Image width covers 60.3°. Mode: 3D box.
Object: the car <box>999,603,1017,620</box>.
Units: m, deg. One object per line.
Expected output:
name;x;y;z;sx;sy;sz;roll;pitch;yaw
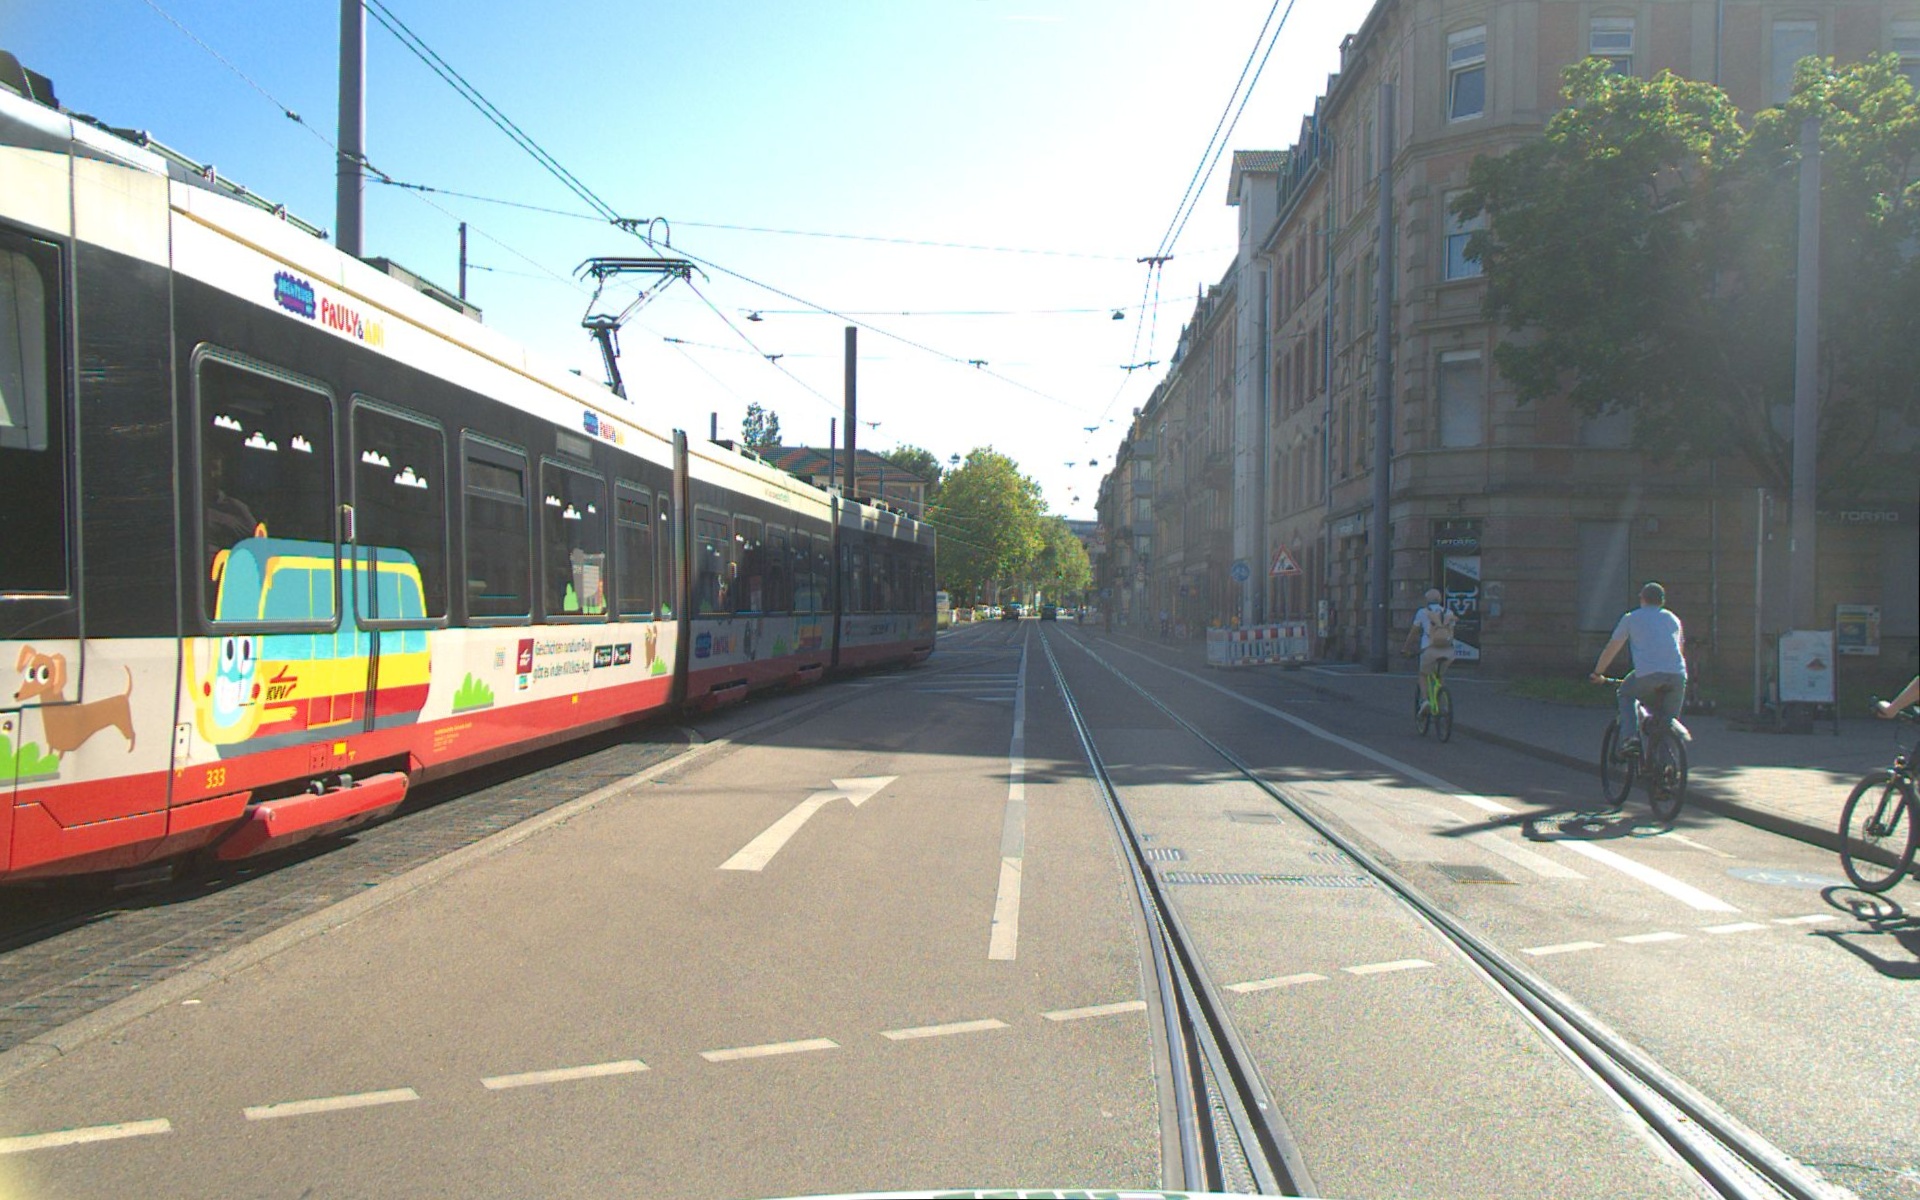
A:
car;5.050;1.250;174.634;1.722;1.726;4.145;3;-1;4

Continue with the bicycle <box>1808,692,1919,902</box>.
bicycle;5.633;1.124;9.280;0.522;1.137;1.929;1;-1;-9

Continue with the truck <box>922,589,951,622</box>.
truck;-2.180;0.516;152.086;2.487;2.879;6.374;3;-1;-1

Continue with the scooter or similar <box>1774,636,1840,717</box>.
scooter or similar;13.175;1.174;25.760;0.264;1.206;1.565;2;-1;3

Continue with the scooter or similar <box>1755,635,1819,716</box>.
scooter or similar;12.865;1.159;25.765;0.264;1.206;1.565;2;-1;3

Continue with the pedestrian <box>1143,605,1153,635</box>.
pedestrian;10.833;1.174;95.281;0.541;1.730;0.474;-1;-1;10

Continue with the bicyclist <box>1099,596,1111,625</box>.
bicyclist;8.859;0.668;101.025;0.653;1.726;1.043;3;-1;2

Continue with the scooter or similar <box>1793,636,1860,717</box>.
scooter or similar;13.503;1.174;25.806;0.264;1.217;1.565;2;-1;3

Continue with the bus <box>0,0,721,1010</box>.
bus;-4.424;-0.397;11.569;2.781;3.652;13.500;1;0;3

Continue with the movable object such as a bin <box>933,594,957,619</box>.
movable object such as a bin;-1.616;0.725;183.094;2.444;2.691;5.988;3;0;0

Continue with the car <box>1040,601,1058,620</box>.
car;10.010;1.174;186.717;1.952;2.049;4.001;3;-1;3

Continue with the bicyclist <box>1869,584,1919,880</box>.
bicyclist;5.673;0.746;9.158;0.612;1.641;0.979;3;-1;-8

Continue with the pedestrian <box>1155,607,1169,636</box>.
pedestrian;11.433;1.229;93.657;0.781;1.633;0.652;1;-1;5

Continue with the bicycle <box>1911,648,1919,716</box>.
bicycle;15.395;1.304;25.828;0.394;1.080;1.483;2;-1;8

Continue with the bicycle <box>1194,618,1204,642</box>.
bicycle;11.644;1.468;80.541;0.401;1.141;1.899;-1;-1;7

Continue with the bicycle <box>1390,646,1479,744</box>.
bicycle;5.996;1.176;20.986;0.521;1.137;1.933;3;-1;-1

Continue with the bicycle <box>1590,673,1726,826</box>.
bicycle;5.699;1.184;13.602;0.378;1.087;1.934;1;-1;3

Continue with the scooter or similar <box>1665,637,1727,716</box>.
scooter or similar;11.590;1.183;26.086;0.264;1.177;1.704;2;-1;3

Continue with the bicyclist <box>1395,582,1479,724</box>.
bicyclist;6.011;0.660;20.885;0.667;1.713;1.120;3;-1;0

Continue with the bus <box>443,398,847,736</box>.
bus;-3.850;-0.344;23.560;2.781;3.652;10.732;1;0;5

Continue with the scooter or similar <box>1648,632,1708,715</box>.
scooter or similar;11.302;1.137;26.069;0.264;1.241;1.704;2;-1;3

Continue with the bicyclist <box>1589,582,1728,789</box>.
bicyclist;5.689;0.676;13.514;0.766;1.621;0.886;1;-1;2

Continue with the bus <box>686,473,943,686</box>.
bus;-2.615;-0.327;34.503;2.780;3.652;11.279;1;0;8

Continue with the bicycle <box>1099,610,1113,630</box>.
bicycle;8.865;1.208;100.742;0.667;1.134;2.708;3;-1;2

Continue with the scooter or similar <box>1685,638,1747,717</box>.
scooter or similar;11.913;1.199;26.095;0.264;1.183;1.704;2;-1;3

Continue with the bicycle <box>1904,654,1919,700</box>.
bicycle;19.175;1.529;32.124;1.388;0.871;0.405;3;-1;10
